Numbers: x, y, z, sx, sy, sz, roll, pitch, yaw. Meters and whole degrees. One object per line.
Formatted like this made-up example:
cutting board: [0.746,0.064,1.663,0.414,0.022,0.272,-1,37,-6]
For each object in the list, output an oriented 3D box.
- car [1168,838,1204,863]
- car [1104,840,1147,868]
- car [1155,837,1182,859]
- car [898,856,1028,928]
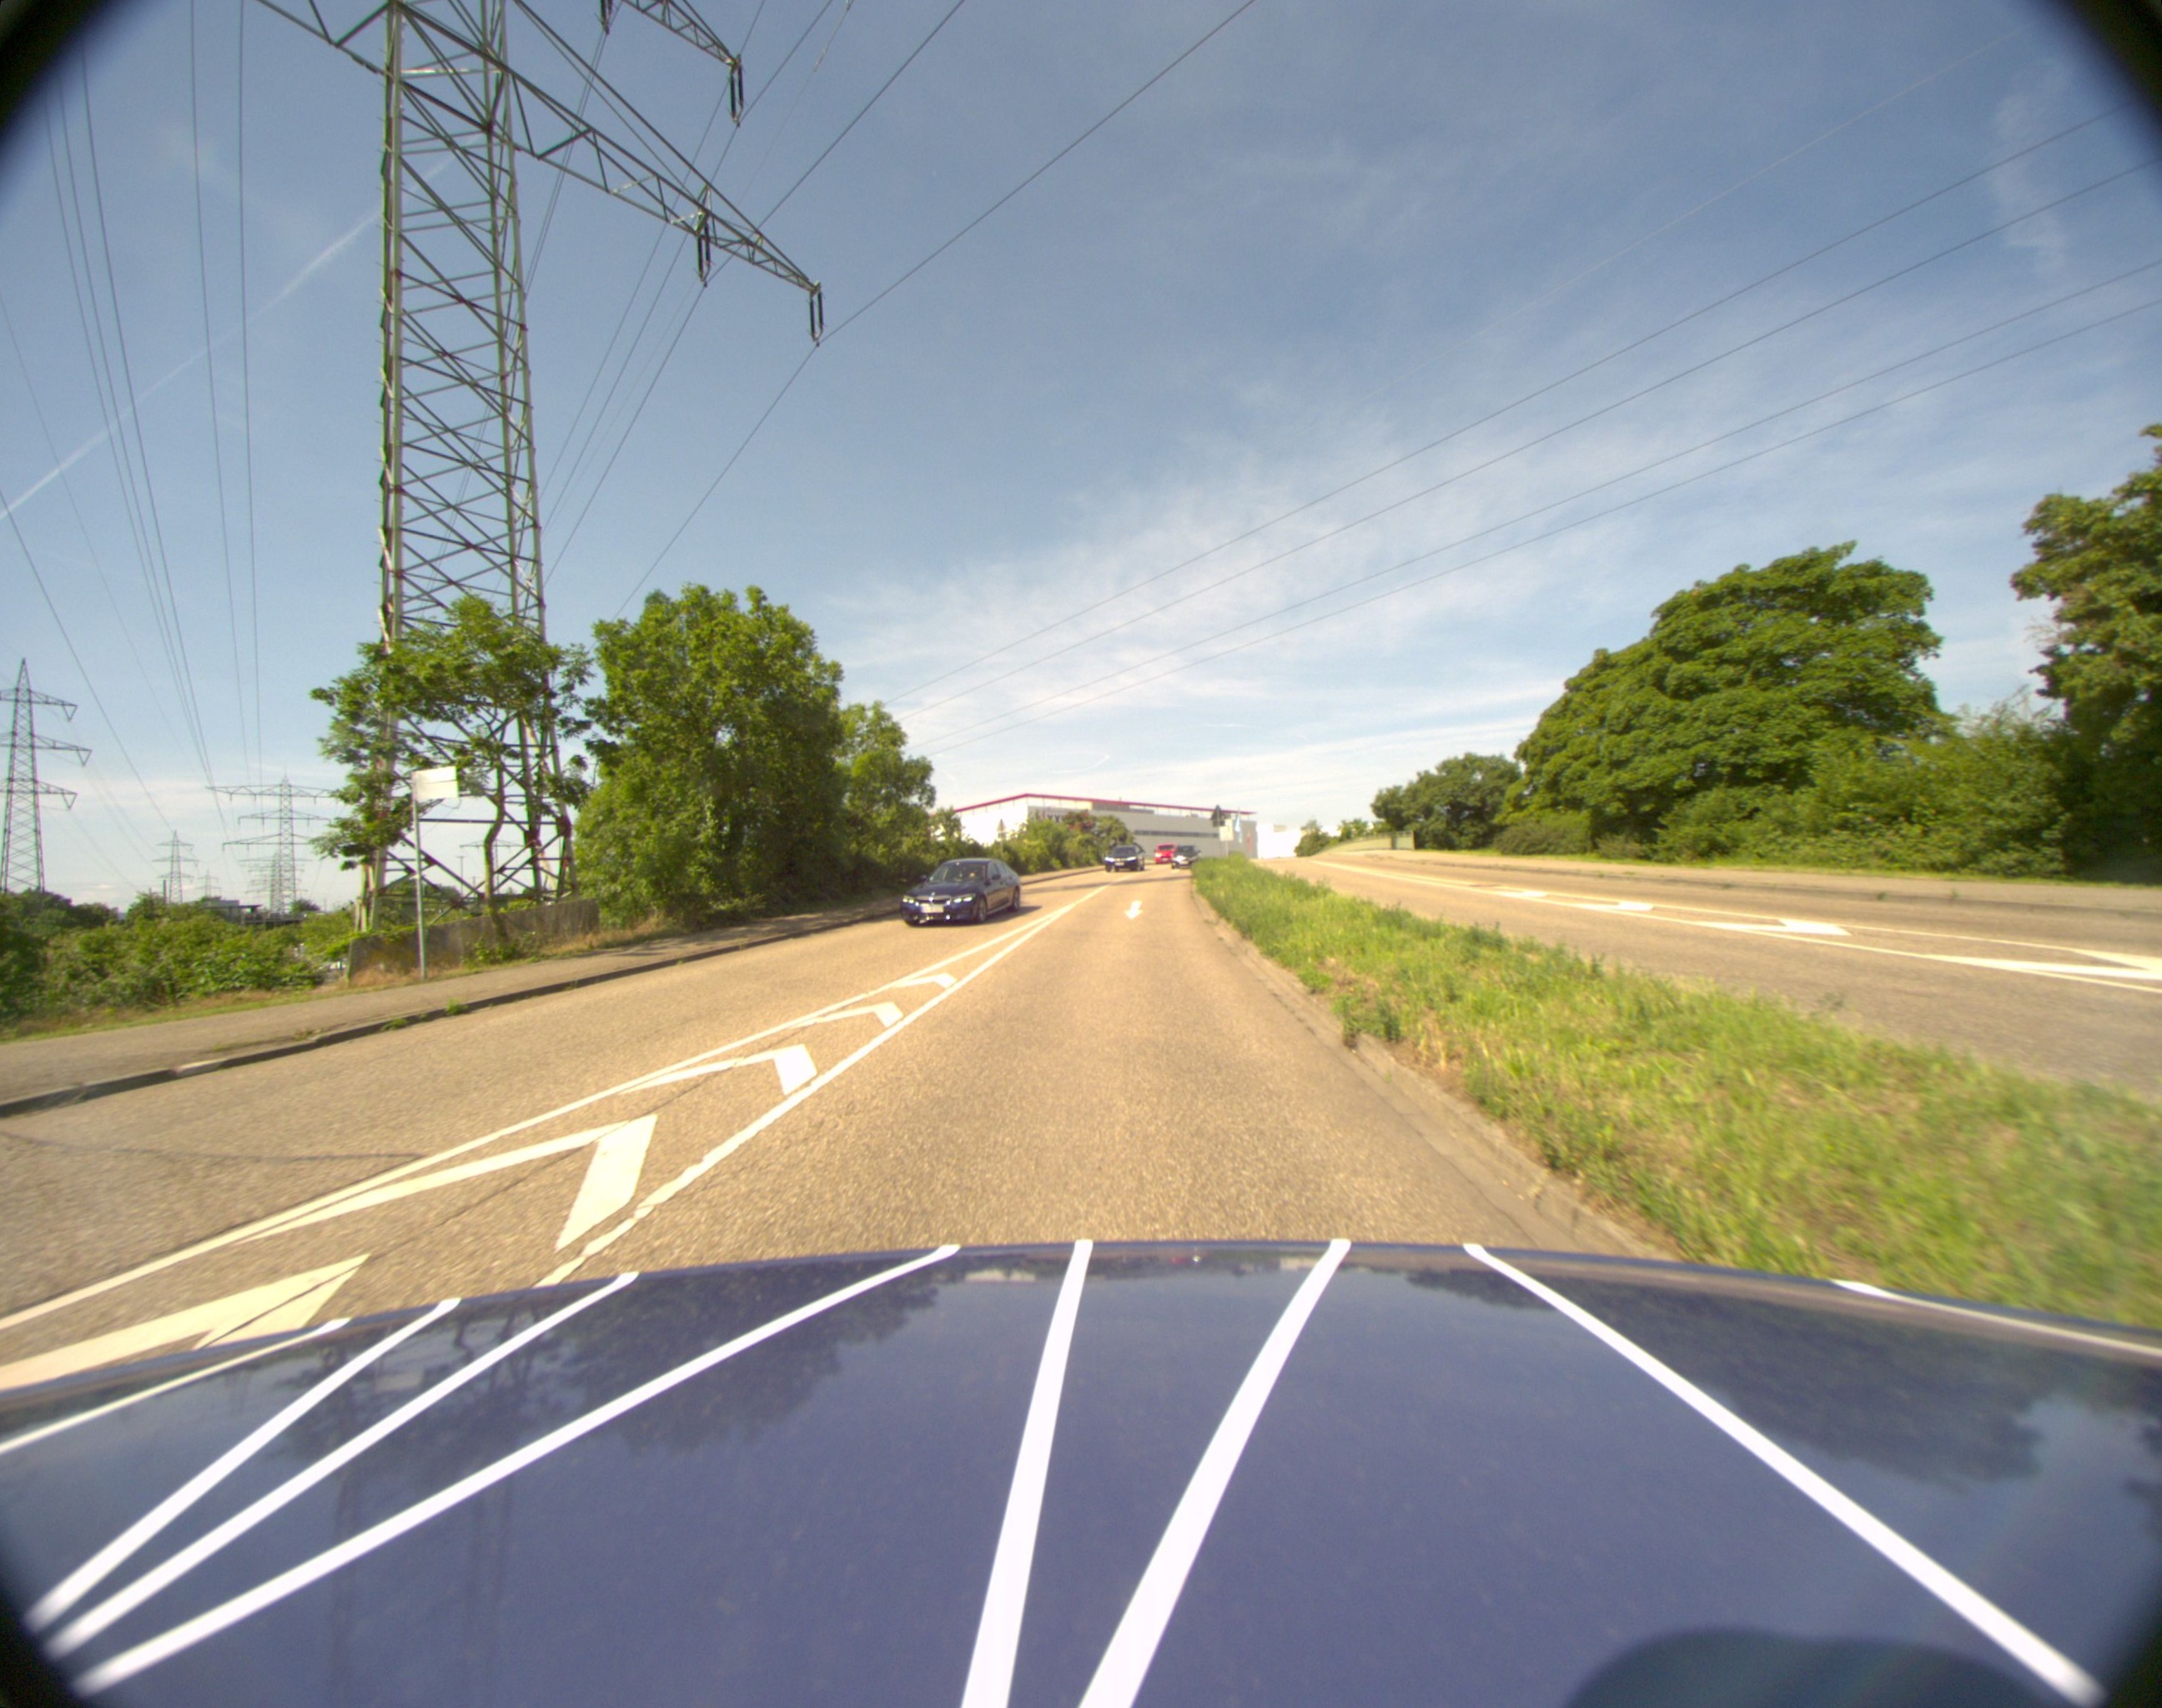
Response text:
car: [6.622,-0.271,47.649,1.848,1.410,4.003,-3,1,13]
car: [2.709,0.000,45.517,1.859,1.520,4.148,-4,-1,12]
car: [8.187,-0.600,71.063,1.986,1.896,4.147,-4,1,12]
car: [-2.747,0.899,18.807,1.791,1.474,4.525,-4,-2,9]
